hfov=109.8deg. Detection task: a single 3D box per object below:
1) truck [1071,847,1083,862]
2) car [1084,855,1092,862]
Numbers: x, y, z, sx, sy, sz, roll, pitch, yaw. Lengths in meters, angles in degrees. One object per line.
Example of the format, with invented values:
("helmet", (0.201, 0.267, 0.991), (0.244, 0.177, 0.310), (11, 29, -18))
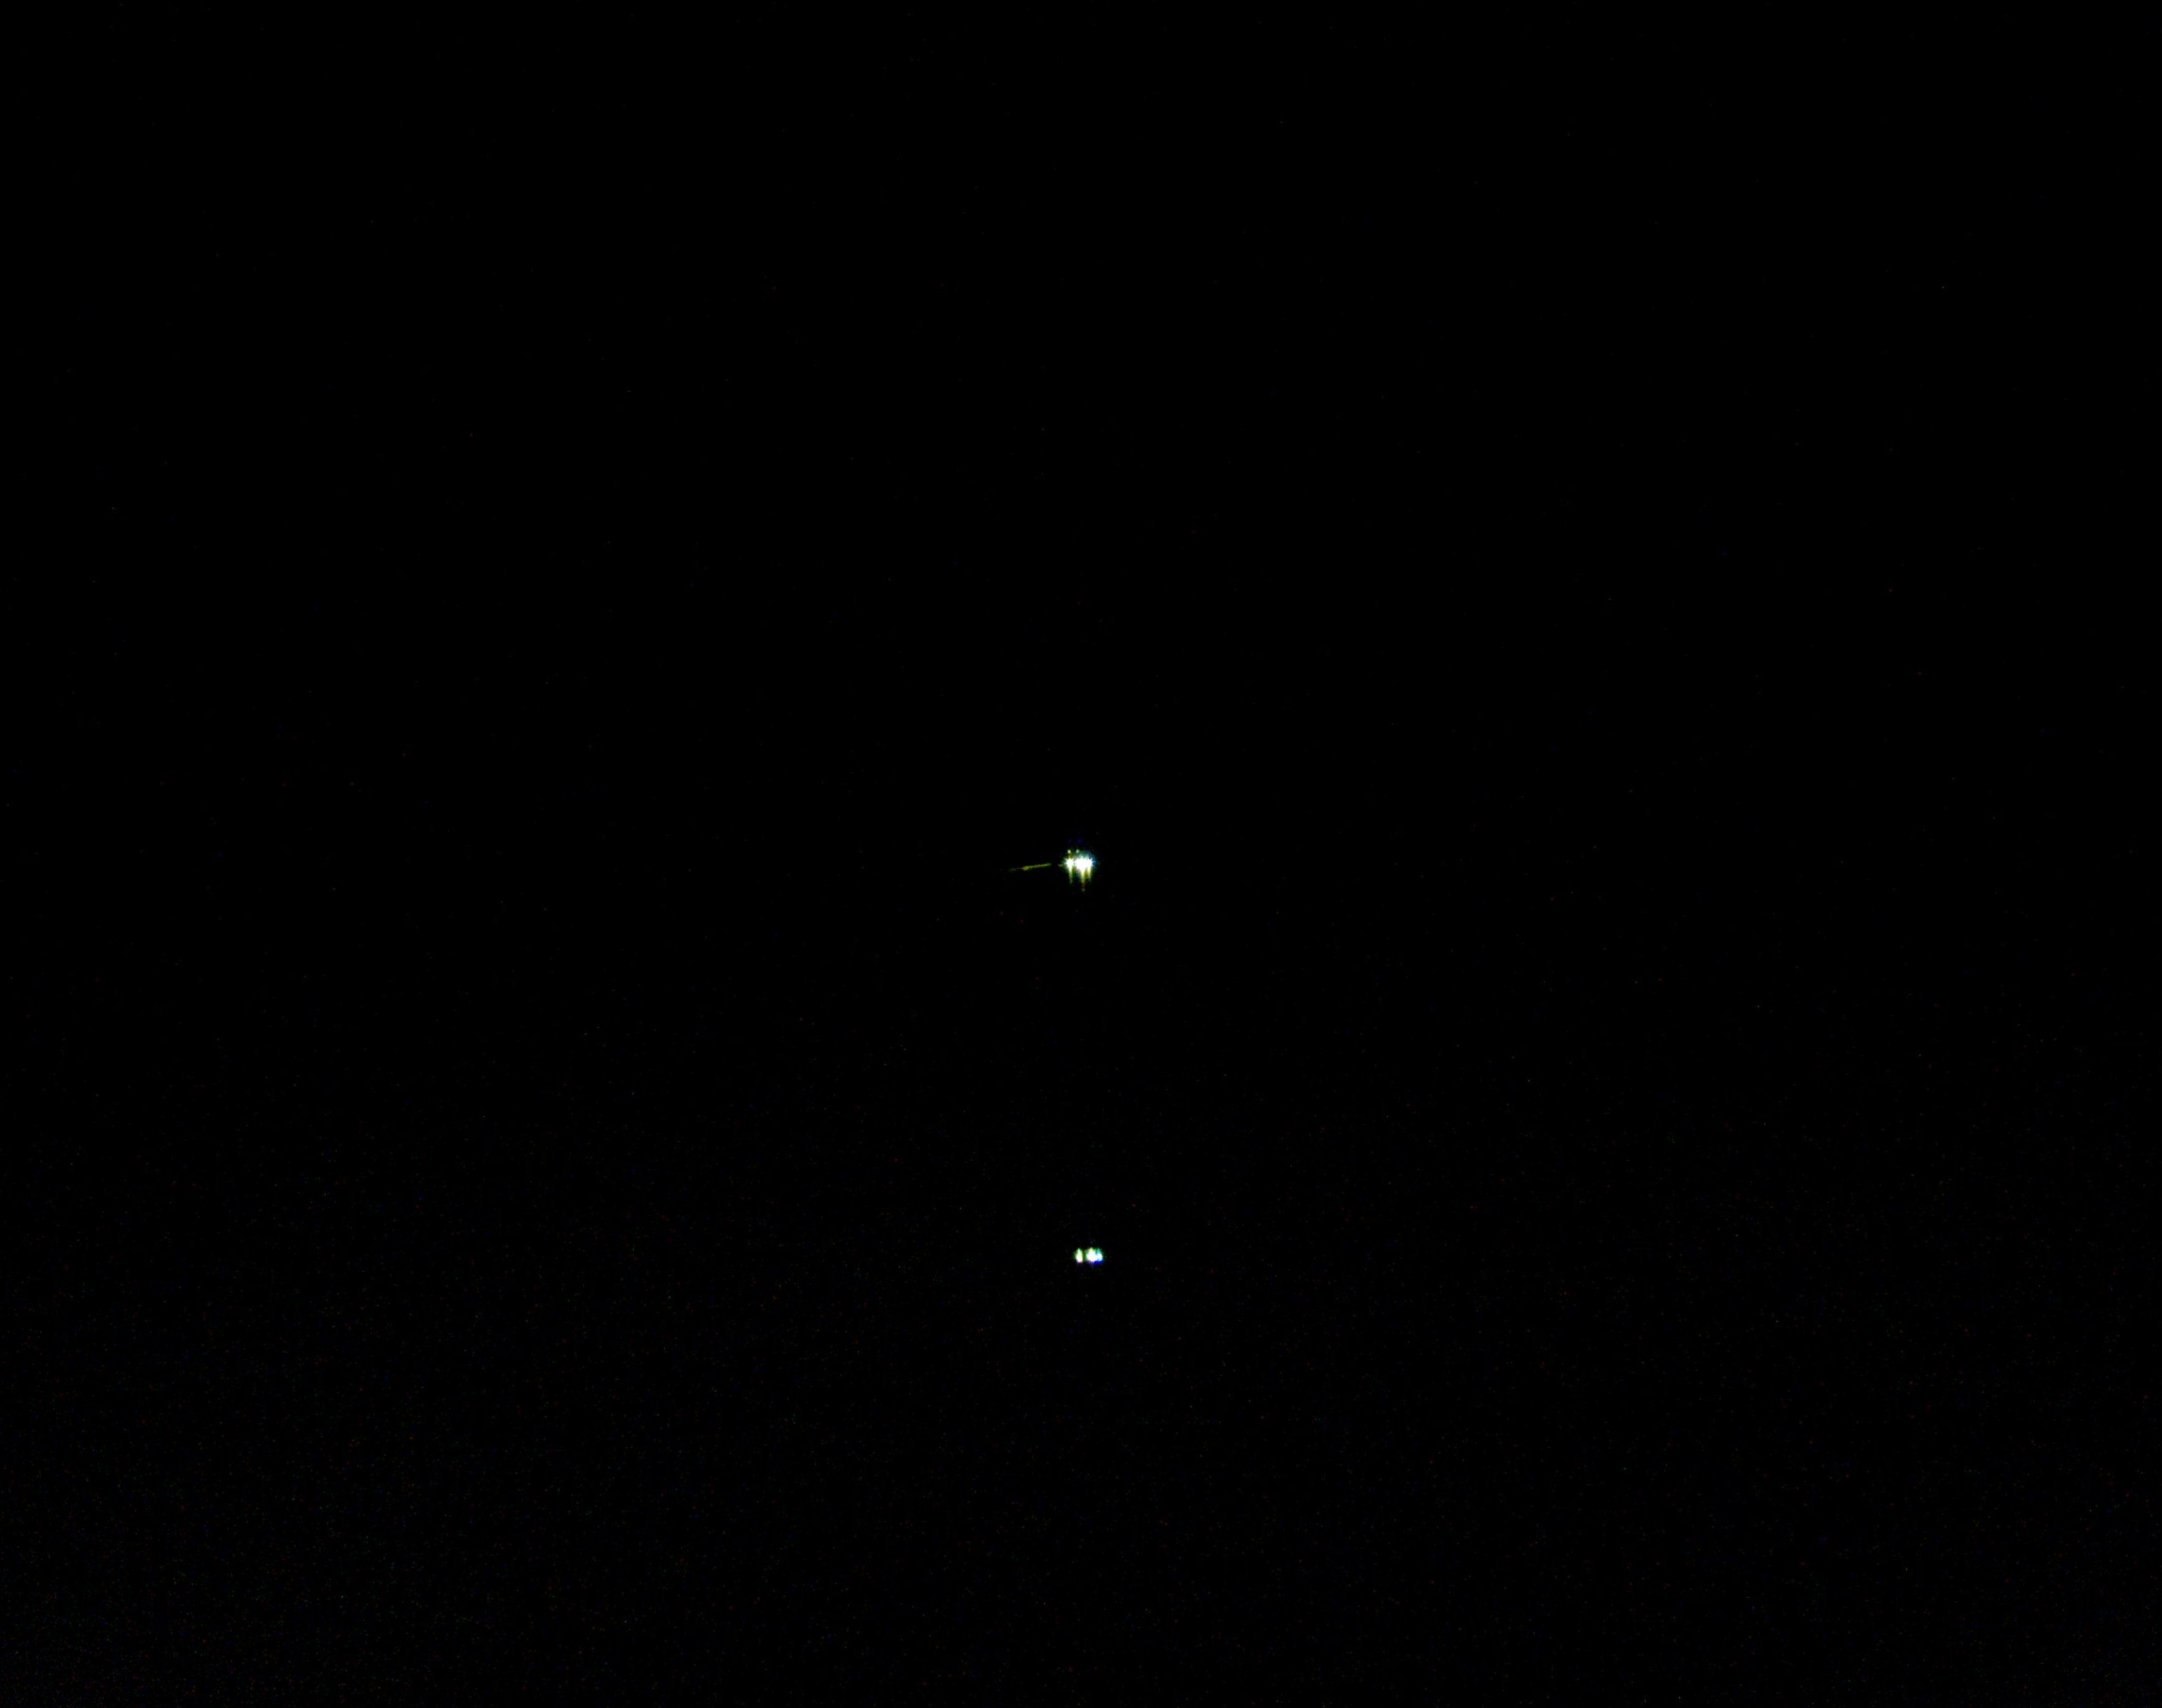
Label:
("truck", (-0.992, 0.198, 209.339), (3.003, 3.876, 12.889), (-2, -1, 0))
("car", (1.644, 1.081, 177.822), (1.845, 1.474, 4.293), (-2, -1, 2))
